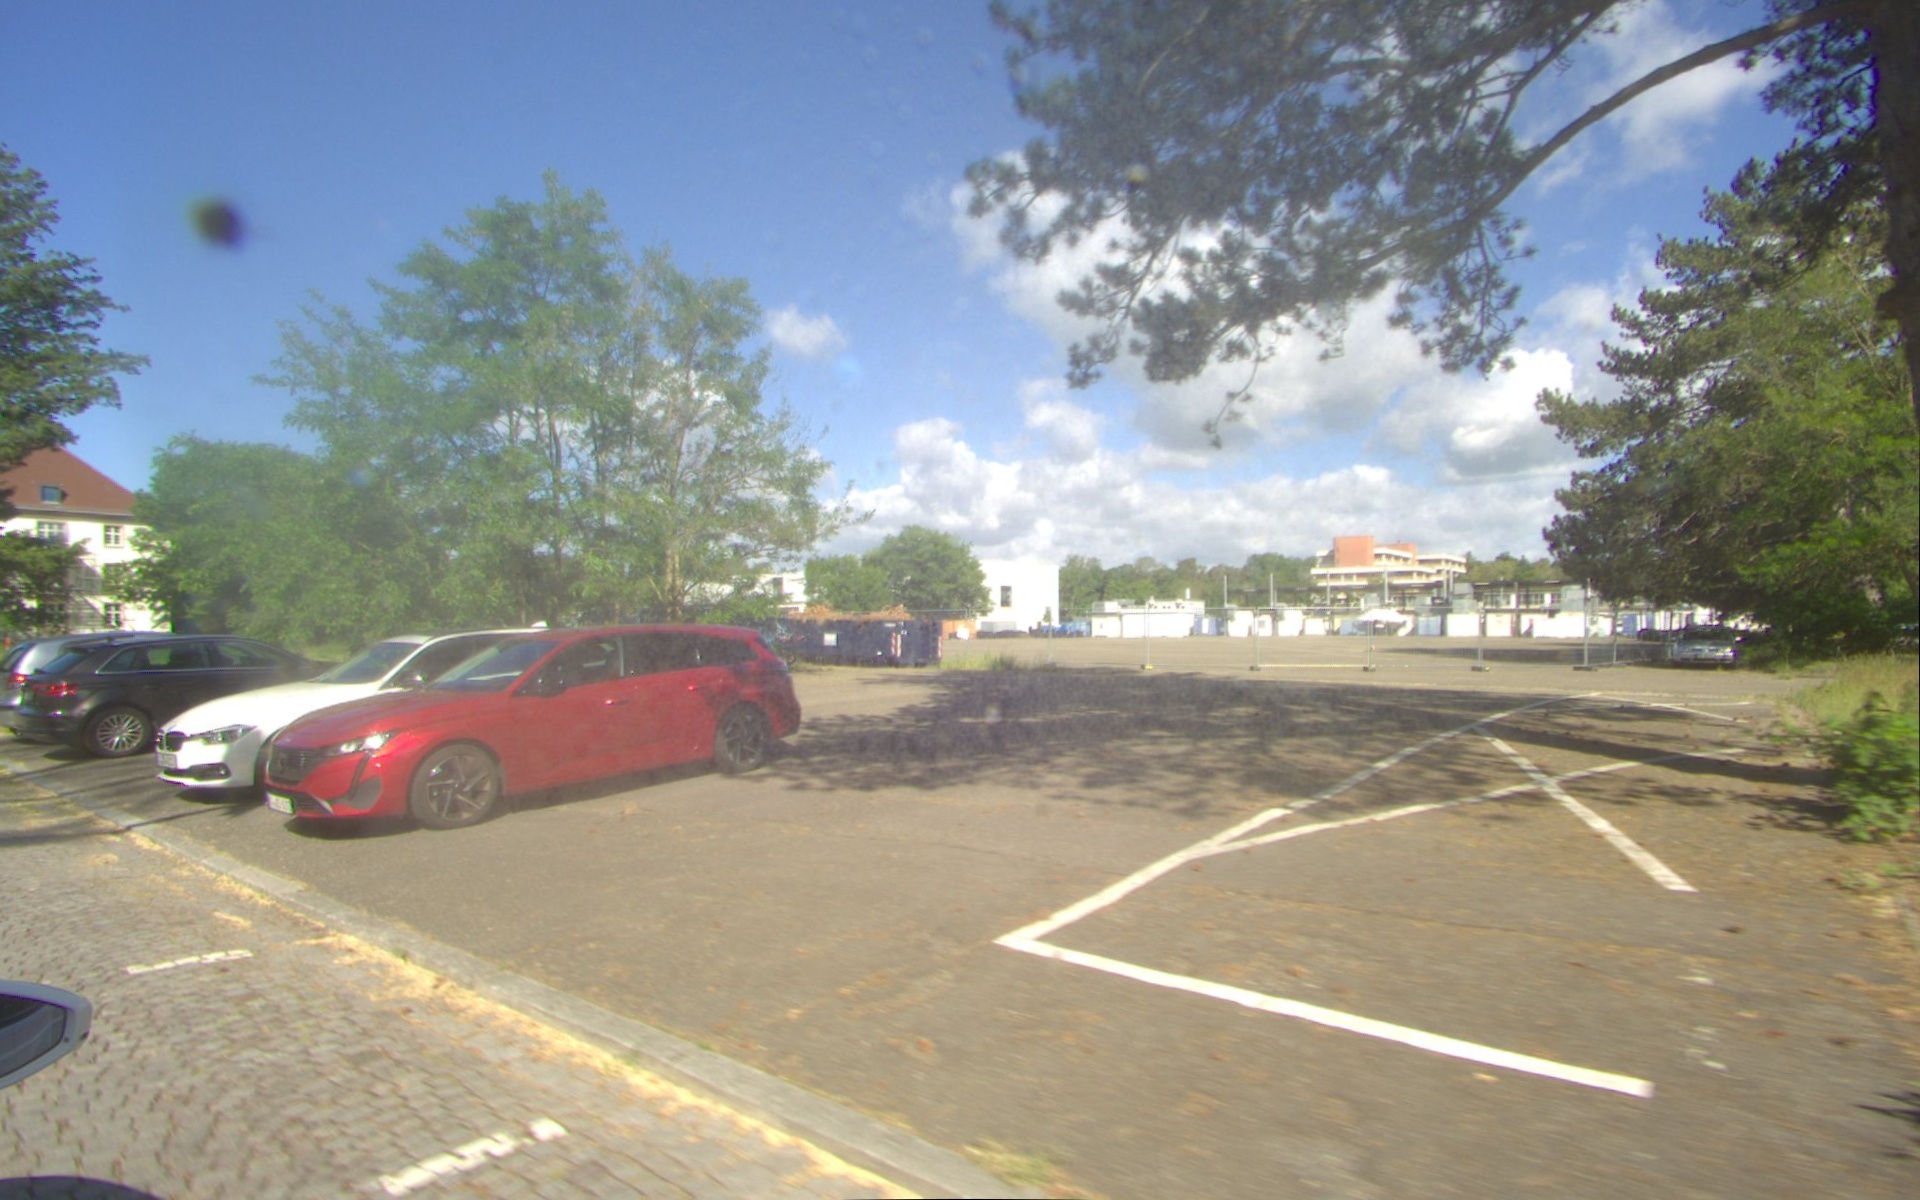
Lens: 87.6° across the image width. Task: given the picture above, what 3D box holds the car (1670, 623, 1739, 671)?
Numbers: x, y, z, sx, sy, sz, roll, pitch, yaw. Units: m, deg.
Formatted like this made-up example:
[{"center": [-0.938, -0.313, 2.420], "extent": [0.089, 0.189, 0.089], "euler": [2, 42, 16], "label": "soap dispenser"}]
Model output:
[{"center": [24.906, 1.519, 33.450], "extent": [1.724, 1.441, 3.971], "euler": [1, 0, 38], "label": "car"}]

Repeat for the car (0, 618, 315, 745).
[{"center": [-12.269, 1.124, 15.247], "extent": [1.730, 1.496, 3.725], "euler": [-1, 1, 37], "label": "car"}]

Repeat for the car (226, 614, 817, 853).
[{"center": [-3.595, 0.936, 9.030], "extent": [1.871, 1.440, 4.518], "euler": [-1, 1, 38], "label": "car"}]

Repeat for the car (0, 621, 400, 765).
[{"center": [-10.126, 1.108, 13.586], "extent": [1.821, 1.461, 3.988], "euler": [-1, 2, 37], "label": "car"}]

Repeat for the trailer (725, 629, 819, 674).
[{"center": [-4.910, 1.336, 26.306], "extent": [1.022, 1.119, 2.393], "euler": [-1, -3, 35], "label": "trailer"}]

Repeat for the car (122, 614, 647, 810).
[{"center": [-5.814, 0.981, 10.705], "extent": [1.815, 1.484, 4.496], "euler": [-1, 1, 36], "label": "car"}]
